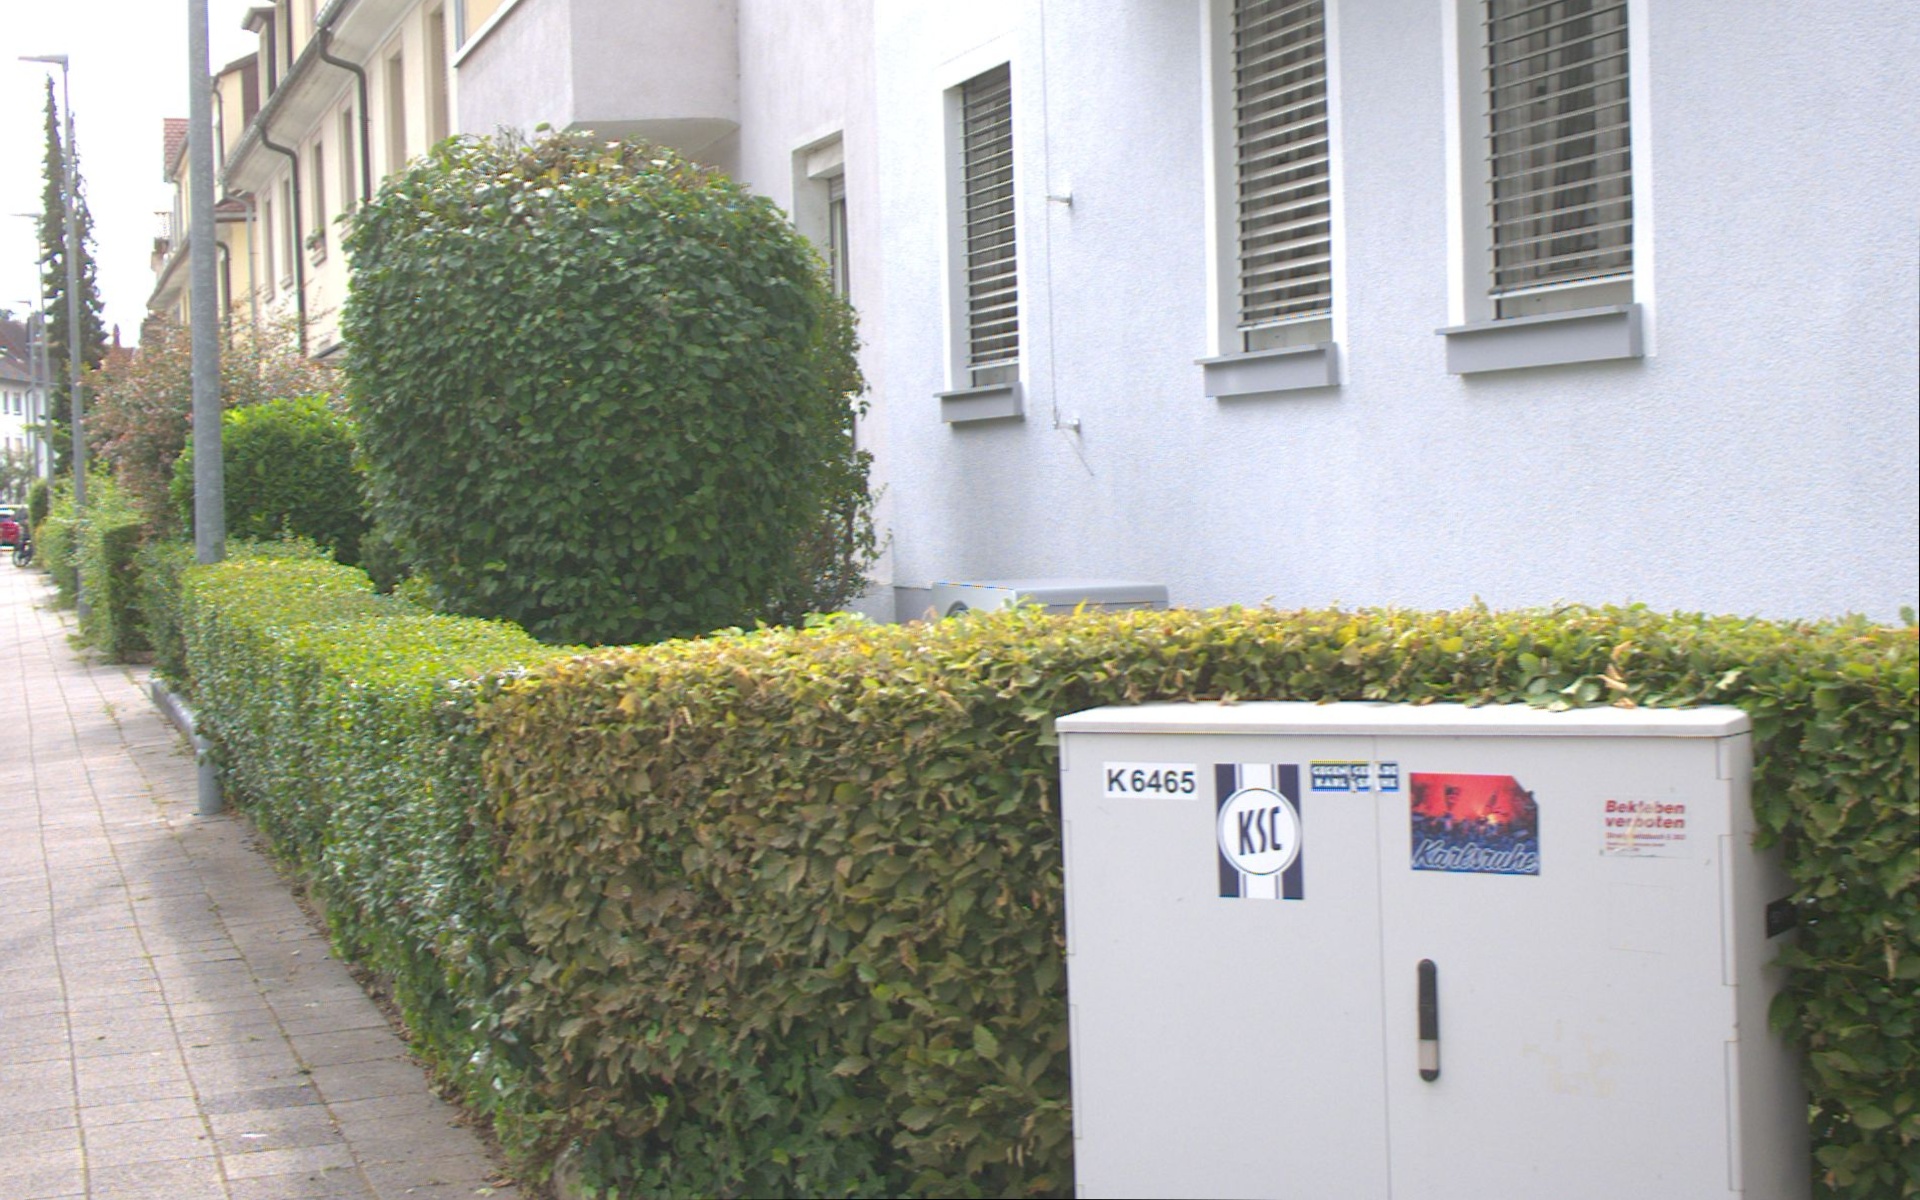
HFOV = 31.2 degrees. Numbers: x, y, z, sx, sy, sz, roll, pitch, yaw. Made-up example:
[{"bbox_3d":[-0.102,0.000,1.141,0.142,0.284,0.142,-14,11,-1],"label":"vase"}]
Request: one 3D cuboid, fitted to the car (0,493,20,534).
[{"bbox_3d":[-38.179,-3.402,135.879,1.853,1.572,4.177,-2,2,-14],"label":"car"}]
